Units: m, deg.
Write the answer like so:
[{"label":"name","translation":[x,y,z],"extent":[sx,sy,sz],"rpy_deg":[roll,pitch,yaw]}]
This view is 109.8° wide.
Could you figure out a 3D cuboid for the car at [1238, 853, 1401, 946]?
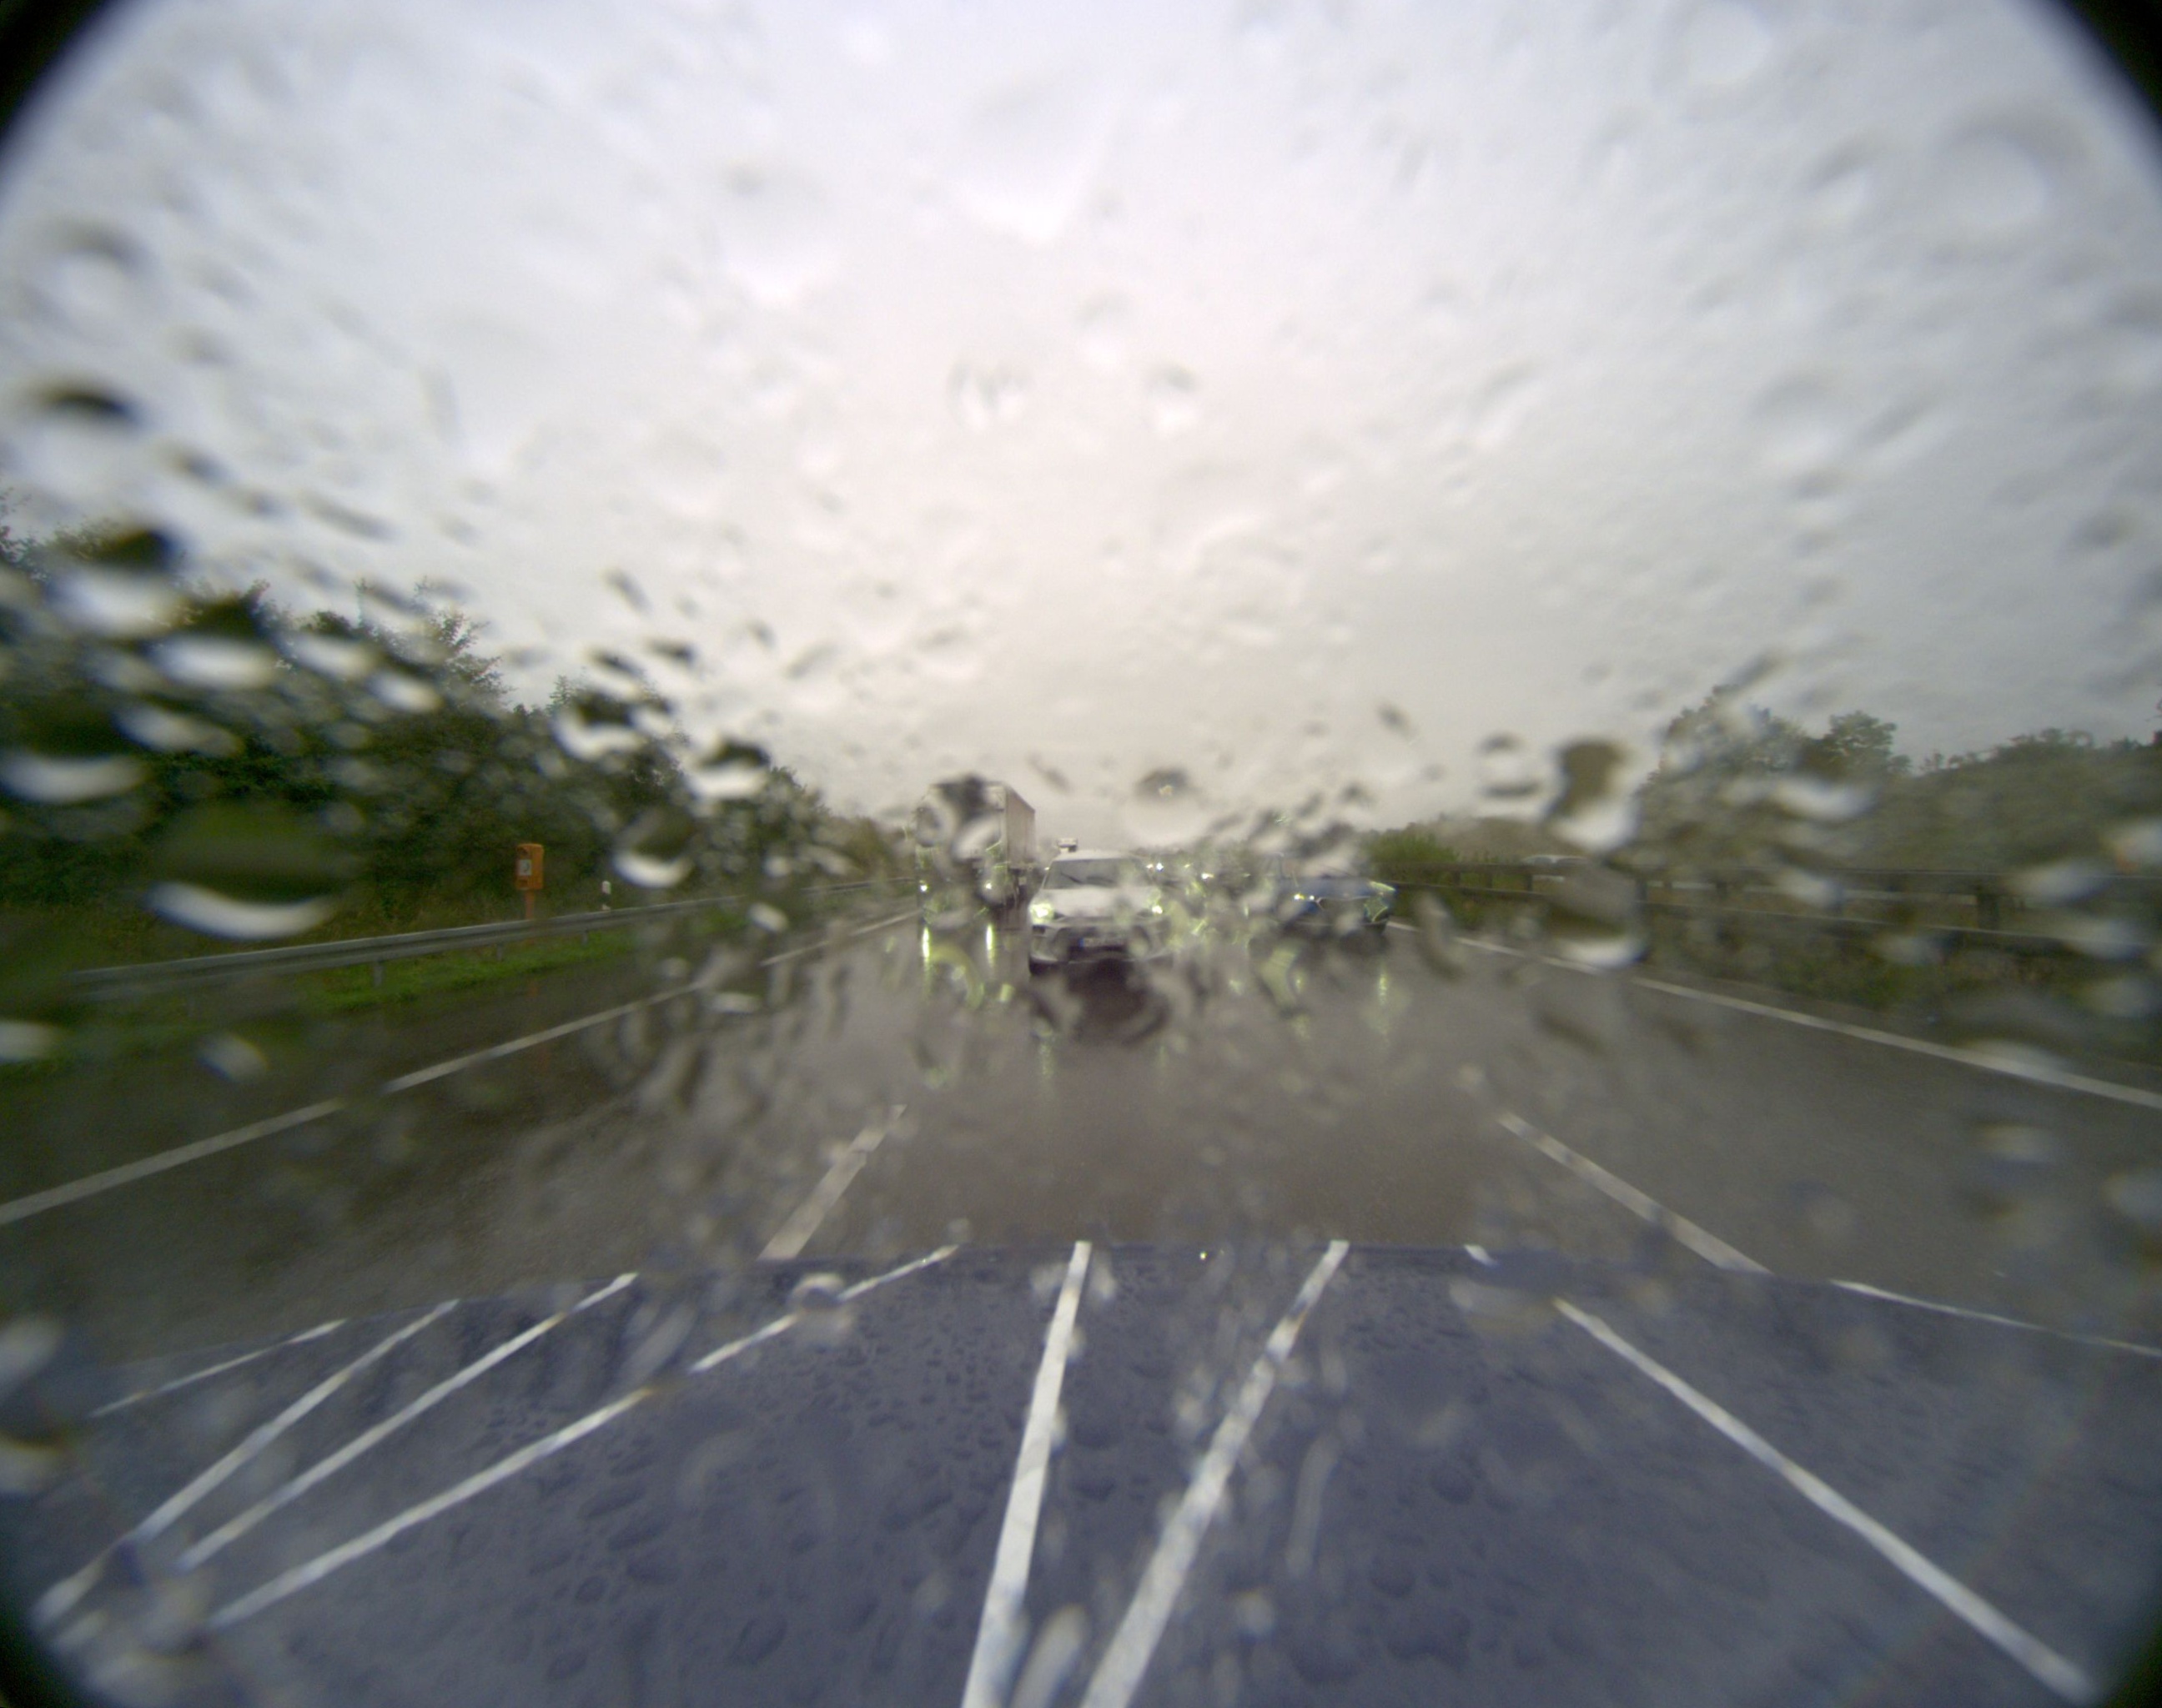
[{"label":"car","translation":[4.378,0.746,14.725],"extent":[1.790,1.467,4.512],"rpy_deg":[-2,0,1]}]

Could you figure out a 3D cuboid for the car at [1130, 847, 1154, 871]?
[{"label":"car","translation":[5.254,0.425,65.629],"extent":[1.888,2.002,4.270],"rpy_deg":[-2,0,4]}]

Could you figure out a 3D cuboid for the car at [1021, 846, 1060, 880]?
[{"label":"car","translation":[-2.520,0.511,48.464],"extent":[1.946,2.002,4.447],"rpy_deg":[-2,1,3]}]

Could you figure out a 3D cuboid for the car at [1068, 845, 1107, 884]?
[{"label":"car","translation":[0.405,0.552,42.158],"extent":[1.998,2.002,4.000],"rpy_deg":[-2,0,2]}]

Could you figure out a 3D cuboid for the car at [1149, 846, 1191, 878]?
[{"label":"car","translation":[4.976,0.427,42.895],"extent":[1.888,1.622,4.269],"rpy_deg":[-2,0,1]}]

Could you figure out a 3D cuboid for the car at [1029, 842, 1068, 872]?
[{"label":"car","translation":[-2.311,0.167,55.074],"extent":[2.260,2.002,4.270],"rpy_deg":[-2,1,4]}]

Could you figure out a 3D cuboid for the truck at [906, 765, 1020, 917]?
[{"label":"truck","translation":[-3.559,-0.384,24.171],"extent":[2.633,4.229,5.042],"rpy_deg":[-2,1,0]}]

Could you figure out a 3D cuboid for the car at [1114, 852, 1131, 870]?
[{"label":"car","translation":[4.776,0.755,88.039],"extent":[1.737,2.002,4.223],"rpy_deg":[-2,0,1]}]

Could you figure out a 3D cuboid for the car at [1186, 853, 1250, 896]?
[{"label":"car","translation":[5.023,0.719,28.345],"extent":[1.613,1.428,4.370],"rpy_deg":[-2,0,1]}]

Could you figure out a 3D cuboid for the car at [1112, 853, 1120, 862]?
[{"label":"car","translation":[6.356,0.572,139.468],"extent":[1.279,1.567,2.848],"rpy_deg":[-2,0,1]}]

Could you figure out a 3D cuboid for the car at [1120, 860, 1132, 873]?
[{"label":"car","translation":[5.759,1.594,98.323],"extent":[1.458,1.540,2.804],"rpy_deg":[0,2,1]}]

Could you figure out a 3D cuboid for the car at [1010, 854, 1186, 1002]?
[{"label":"car","translation":[0.221,0.817,10.385],"extent":[1.893,1.578,4.000],"rpy_deg":[-2,0,1]}]

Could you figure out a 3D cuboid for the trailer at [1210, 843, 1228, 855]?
[{"label":"trailer","translation":[23.356,-0.897,128.429],"extent":[2.097,2.002,5.348],"rpy_deg":[0,2,0]}]

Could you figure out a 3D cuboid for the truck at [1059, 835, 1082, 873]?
[{"label":"truck","translation":[-1.285,0.002,97.484],"extent":[2.628,4.635,4.290],"rpy_deg":[-2,0,1]}]

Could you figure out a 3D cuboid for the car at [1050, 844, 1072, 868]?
[{"label":"car","translation":[-1.939,0.202,75.948],"extent":[1.998,2.231,4.000],"rpy_deg":[-2,0,1]}]

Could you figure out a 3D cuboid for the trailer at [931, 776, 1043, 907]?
[{"label":"trailer","translation":[-3.448,-0.464,32.136],"extent":[2.633,4.224,14.175],"rpy_deg":[-2,1,1]}]

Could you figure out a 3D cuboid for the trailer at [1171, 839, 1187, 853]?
[{"label":"trailer","translation":[19.908,-1.689,154.399],"extent":[2.487,2.704,7.322],"rpy_deg":[0,2,2]}]

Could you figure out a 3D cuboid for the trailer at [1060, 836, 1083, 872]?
[{"label":"trailer","translation":[-1.169,0.050,102.640],"extent":[2.628,4.635,9.222],"rpy_deg":[-2,0,1]}]
